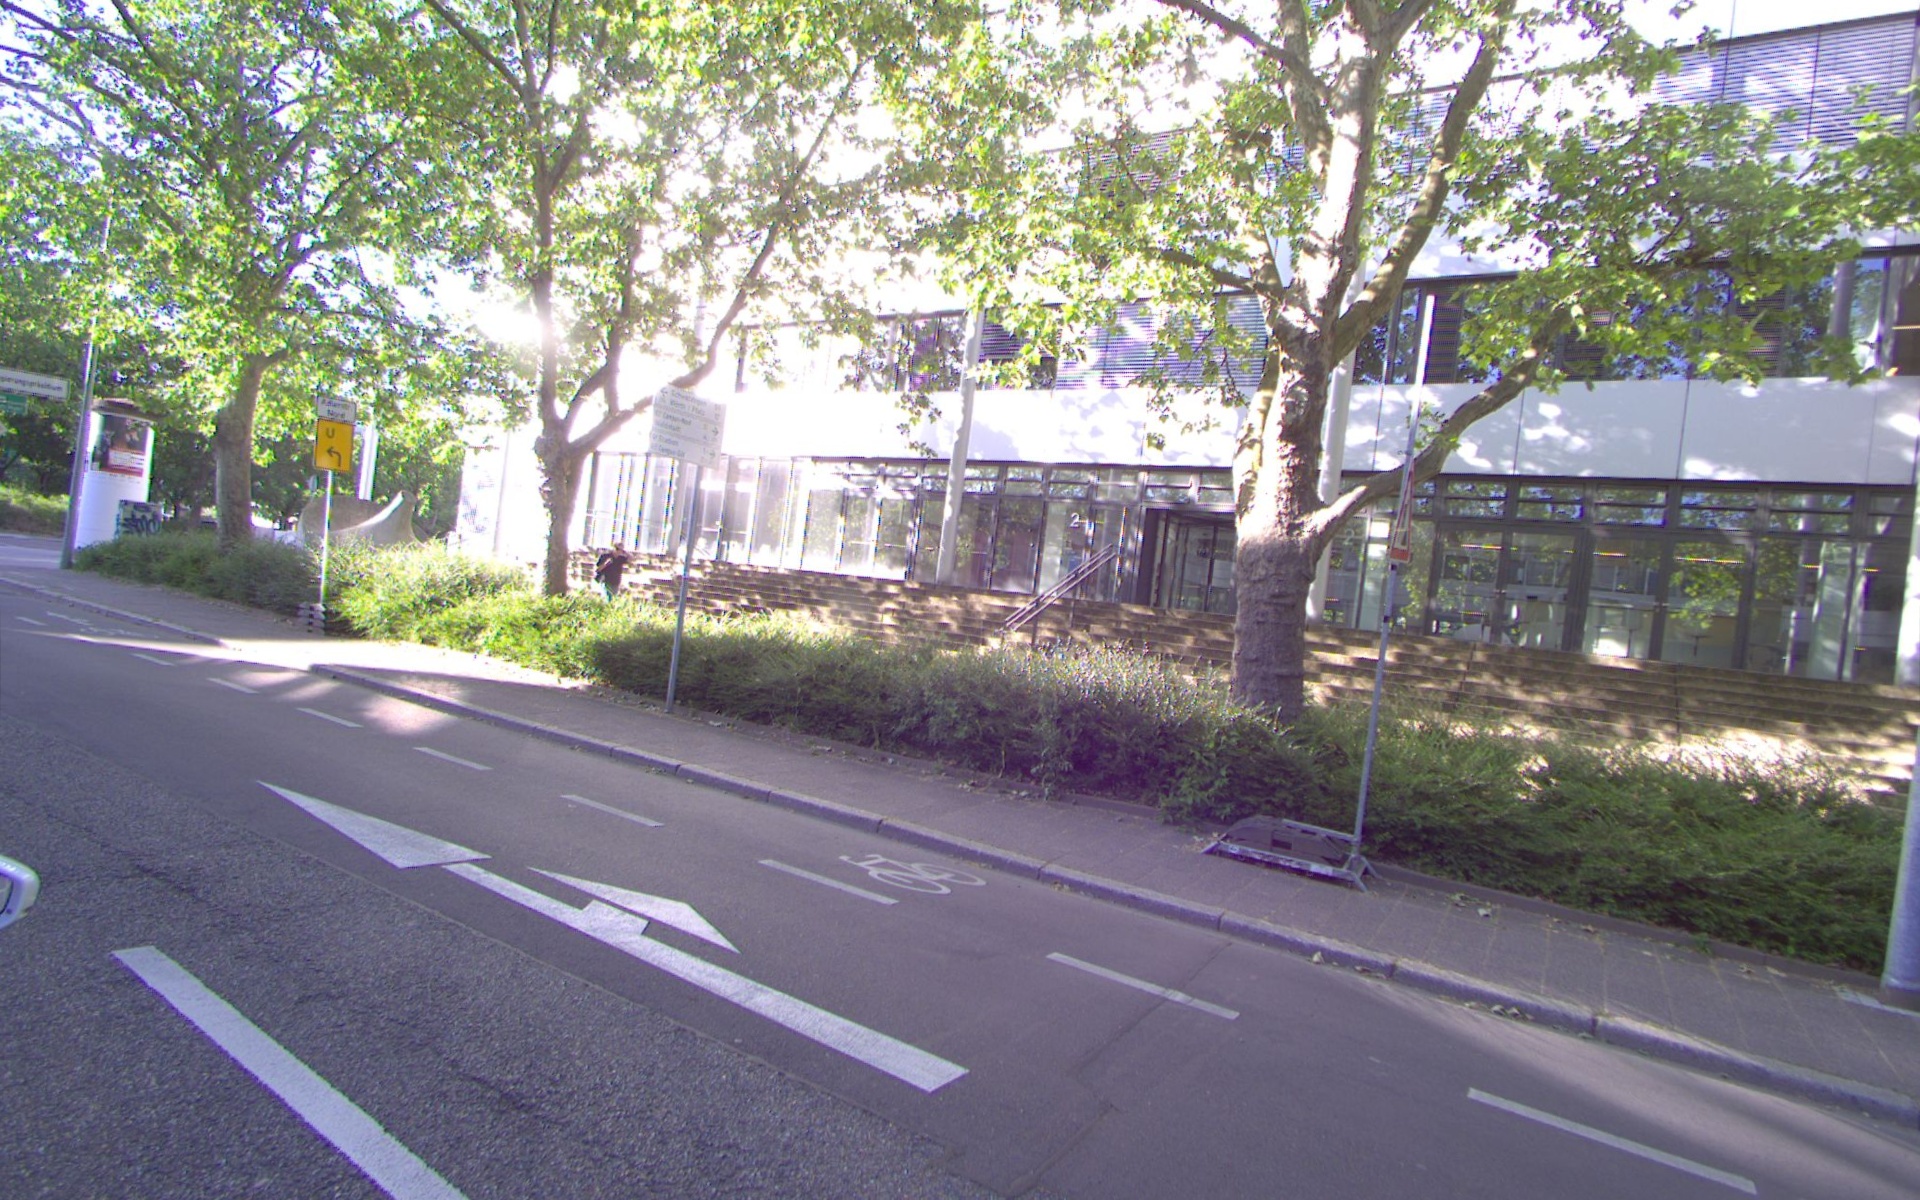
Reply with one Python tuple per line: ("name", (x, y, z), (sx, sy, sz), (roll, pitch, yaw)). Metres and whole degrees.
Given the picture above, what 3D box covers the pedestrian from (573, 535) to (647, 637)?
("pedestrian", (-6.712, -0.260, 19.323), (0.848, 1.802, 0.785), (7, 0, 30))
